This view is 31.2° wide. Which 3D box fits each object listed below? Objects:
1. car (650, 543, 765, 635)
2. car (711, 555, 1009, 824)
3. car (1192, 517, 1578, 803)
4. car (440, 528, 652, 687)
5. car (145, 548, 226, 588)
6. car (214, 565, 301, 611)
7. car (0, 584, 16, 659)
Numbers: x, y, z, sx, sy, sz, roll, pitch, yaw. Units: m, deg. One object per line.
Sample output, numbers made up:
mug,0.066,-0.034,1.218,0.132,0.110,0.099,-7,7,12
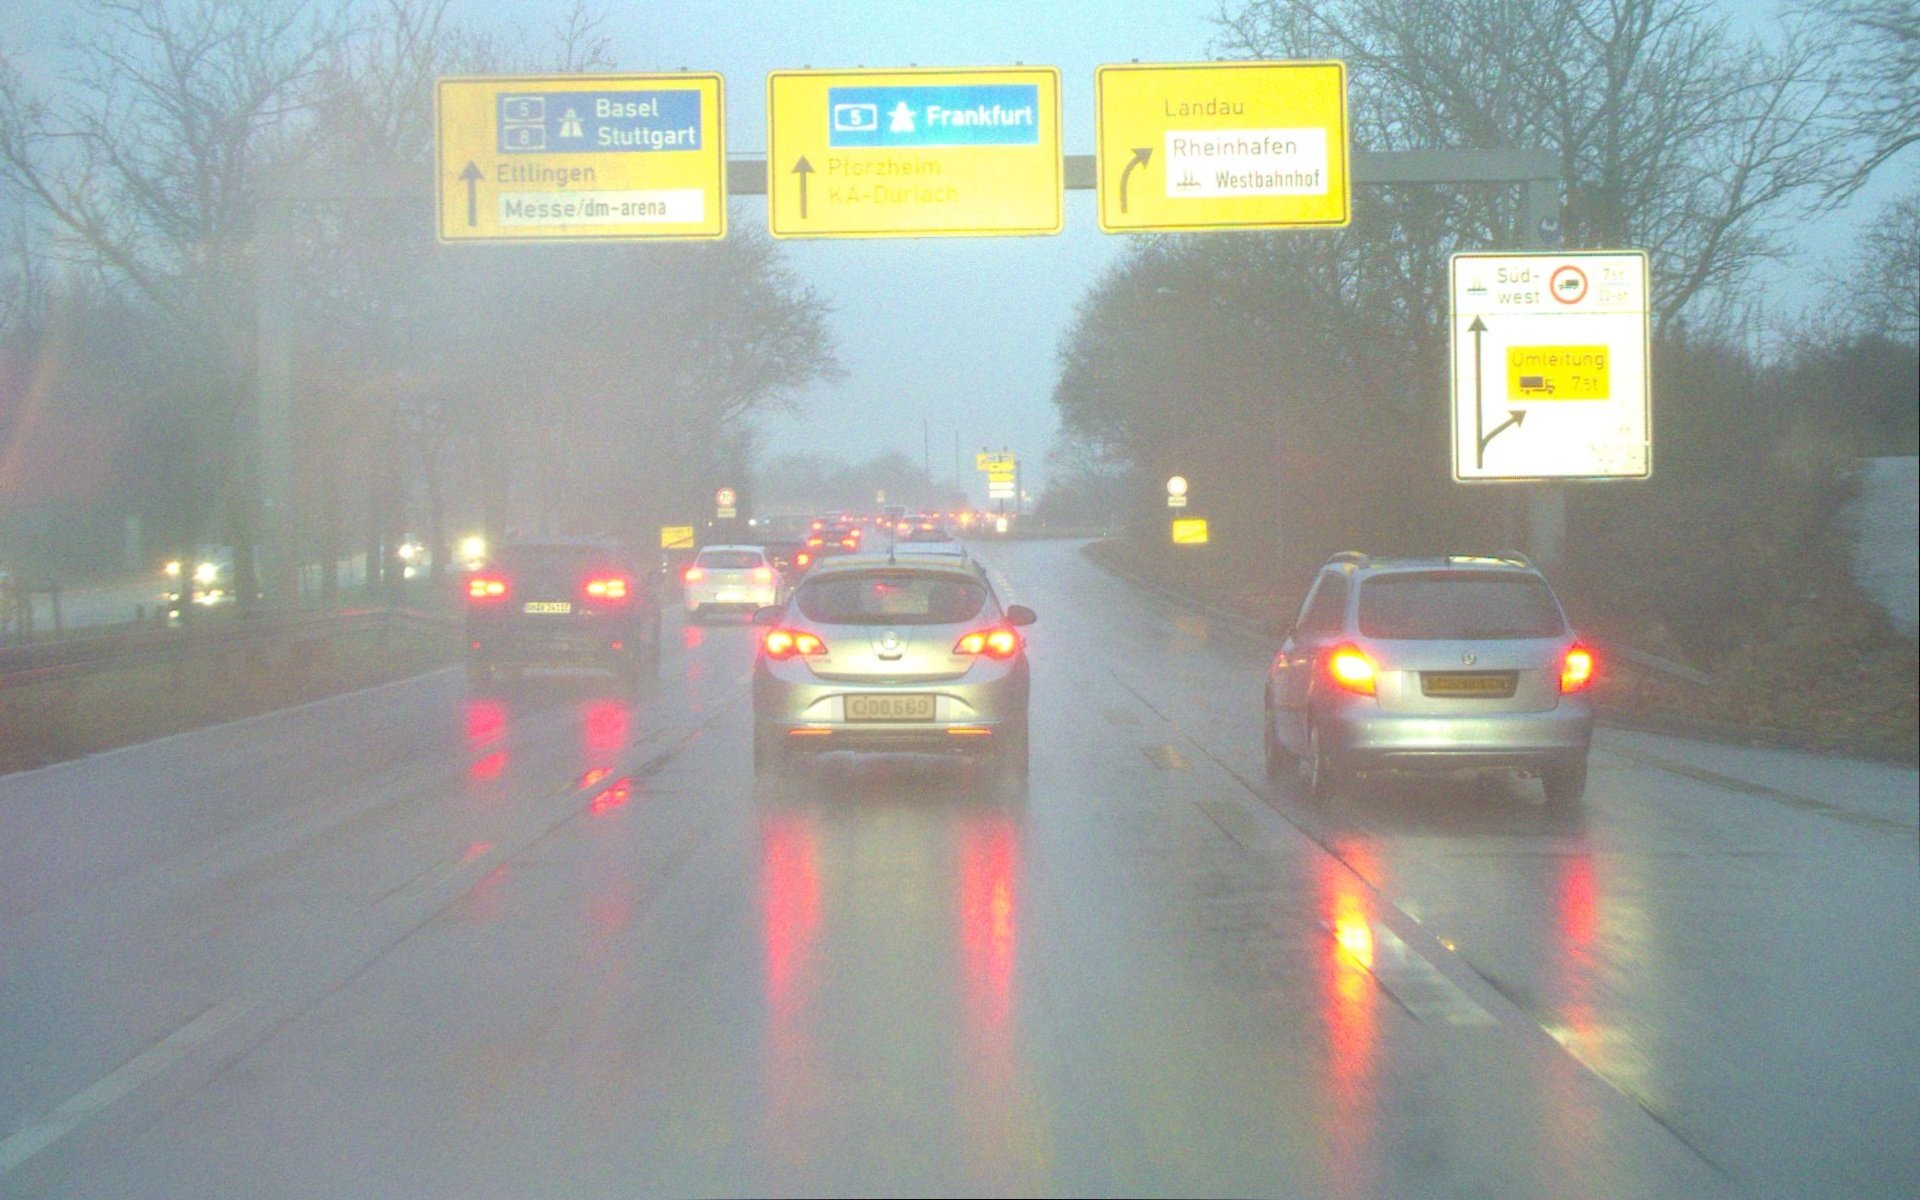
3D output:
car,-4.708,-0.219,64.501,1.822,1.642,4.000,-1,1,0
car,-0.613,0.547,23.469,1.822,1.642,4.466,1,0,0
car,2.623,0.342,22.235,1.933,1.642,4.466,1,0,0
car,-4.509,0.060,37.972,1.822,1.642,4.000,-1,1,0
car,-25.666,-1.074,113.999,1.751,1.303,4.316,0,1,-1
car,-20.974,-0.362,102.729,1.751,1.303,4.316,0,1,-1
car,-21.884,0.490,74.831,1.785,1.621,3.575,0,1,-2
